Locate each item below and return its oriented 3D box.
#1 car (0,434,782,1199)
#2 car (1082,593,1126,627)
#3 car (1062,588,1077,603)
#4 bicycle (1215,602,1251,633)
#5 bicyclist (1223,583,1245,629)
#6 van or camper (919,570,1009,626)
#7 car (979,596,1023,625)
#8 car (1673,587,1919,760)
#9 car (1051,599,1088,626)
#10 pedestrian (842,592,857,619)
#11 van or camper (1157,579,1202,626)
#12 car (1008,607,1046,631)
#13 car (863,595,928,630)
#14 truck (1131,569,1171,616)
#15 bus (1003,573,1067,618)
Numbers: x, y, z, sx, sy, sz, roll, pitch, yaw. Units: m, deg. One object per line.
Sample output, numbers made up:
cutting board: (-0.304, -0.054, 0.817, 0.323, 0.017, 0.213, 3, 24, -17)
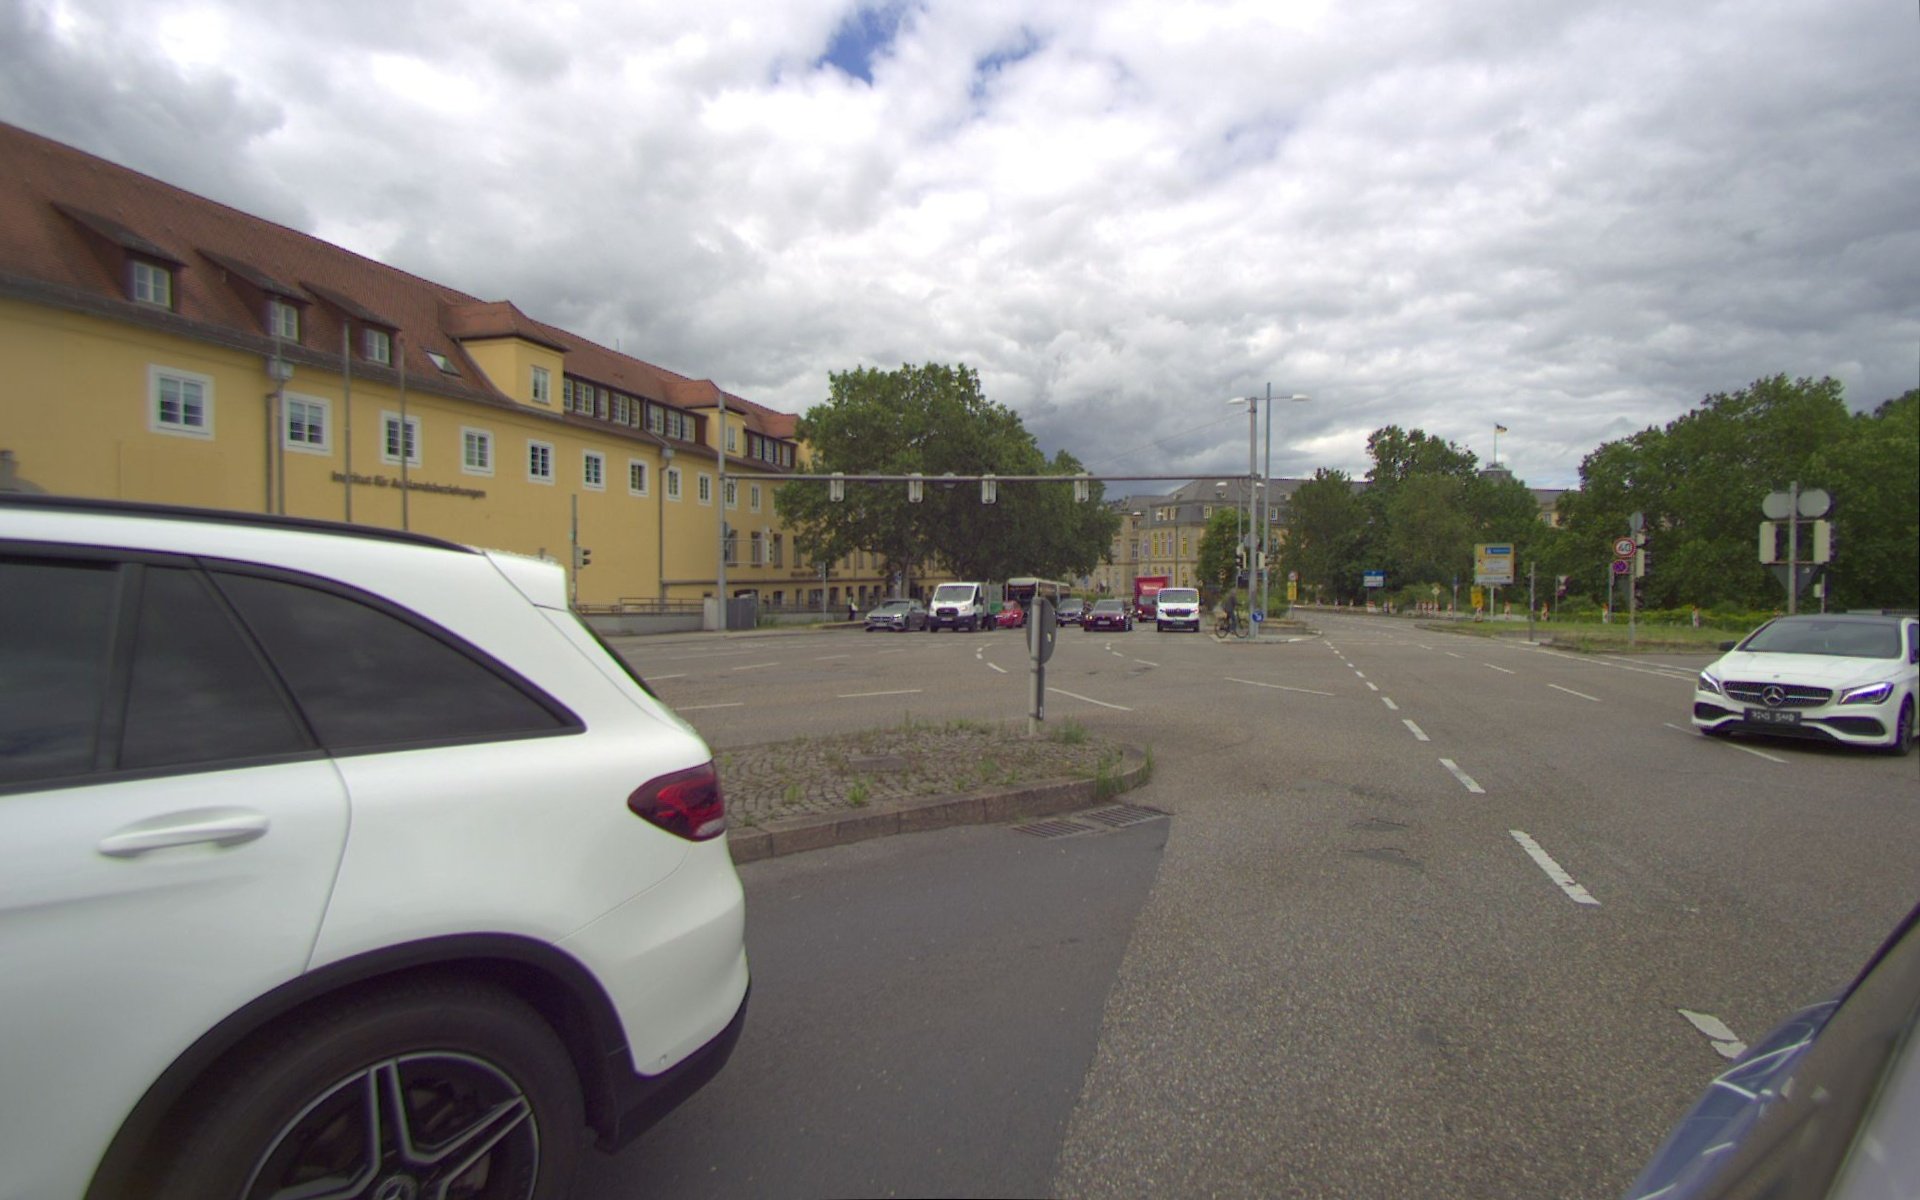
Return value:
car: (-2.589, 0.583, 1.572, 4.259, 1.667, 1.805, 0, 1, -42)
car: (6.478, 0.420, 45.360, 1.714, 1.417, 3.698, 0, 1, 12)
car: (15.143, -0.576, 139.676, 1.964, 2.039, 3.996, 0, 1, 4)
bicycle: (10.126, 0.635, 37.495, 0.504, 1.086, 1.701, 1, 1, 44)
bicyclist: (10.163, 0.210, 37.490, 0.504, 1.660, 0.710, 1, 0, 45)
van or camper: (0.295, -0.109, 45.104, 2.342, 2.291, 6.254, 1, 1, 16)
car: (2.113, 0.518, 51.144, 1.591, 1.372, 3.472, 0, 1, 13)
car: (10.150, 0.667, 11.585, 4.564, 1.589, 1.871, 0, 1, -36)
car: (6.231, 0.671, 57.288, 1.581, 1.395, 3.984, 0, 1, 13)
pedestrian: (-5.739, 0.294, 52.553, 0.671, 1.397, 0.577, 0, 0, 12)
van or camper: (9.804, 0.067, 45.054, 1.839, 1.940, 4.694, 0, 1, 14)
car: (3.888, 1.056, 58.396, 1.600, 1.251, 3.224, 0, 1, 15)
car: (-2.791, 0.520, 44.794, 1.802, 1.426, 3.984, 0, 1, 14)
truck: (15.284, -0.651, 80.483, 2.750, 3.533, 8.316, 0, 1, 13)
bus: (6.102, -0.394, 80.059, 3.382, 3.244, 13.018, 0, 1, 12)
